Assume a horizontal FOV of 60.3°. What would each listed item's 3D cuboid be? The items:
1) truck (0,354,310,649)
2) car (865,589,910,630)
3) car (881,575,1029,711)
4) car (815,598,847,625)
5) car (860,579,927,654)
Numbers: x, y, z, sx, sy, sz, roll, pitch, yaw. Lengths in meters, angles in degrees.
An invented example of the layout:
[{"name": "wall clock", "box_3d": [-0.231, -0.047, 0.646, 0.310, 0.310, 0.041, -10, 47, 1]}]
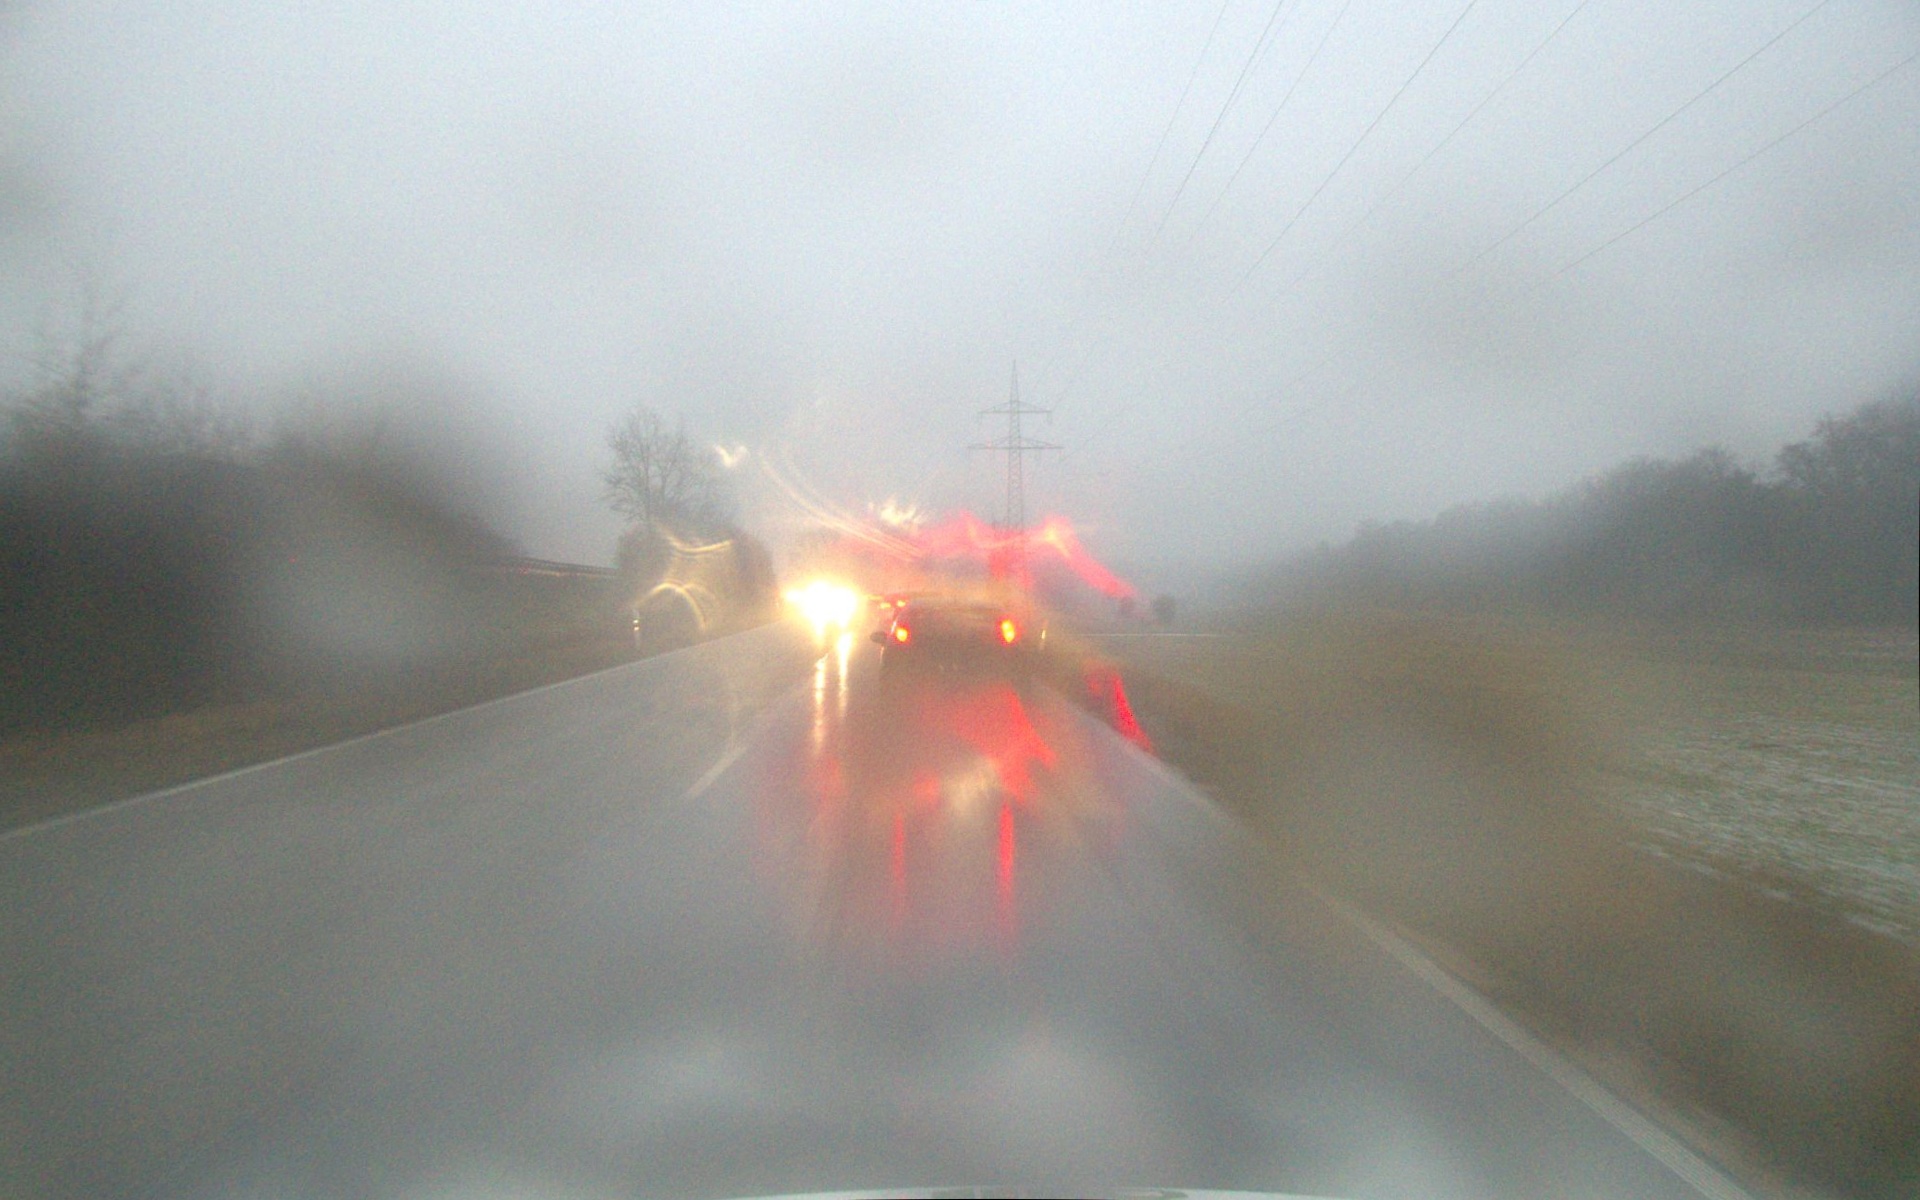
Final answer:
[{"name": "truck", "box_3d": [-29.314, -2.679, 45.146, 7.389, 7.848, 40.144, 1, 0, 0]}, {"name": "car", "box_3d": [-3.036, 0.361, 68.228, 1.734, 1.619, 4.161, 1, 0, -4]}, {"name": "car", "box_3d": [-0.127, 0.461, 19.145, 1.471, 1.423, 3.197, 1, 0, -4]}, {"name": "car", "box_3d": [-8.018, 0.699, 102.919, 1.750, 1.619, 4.484, 1, 0, -2]}, {"name": "car", "box_3d": [-1.975, 0.461, 48.251, 1.816, 2.049, 3.996, 1, 0, -4]}]
